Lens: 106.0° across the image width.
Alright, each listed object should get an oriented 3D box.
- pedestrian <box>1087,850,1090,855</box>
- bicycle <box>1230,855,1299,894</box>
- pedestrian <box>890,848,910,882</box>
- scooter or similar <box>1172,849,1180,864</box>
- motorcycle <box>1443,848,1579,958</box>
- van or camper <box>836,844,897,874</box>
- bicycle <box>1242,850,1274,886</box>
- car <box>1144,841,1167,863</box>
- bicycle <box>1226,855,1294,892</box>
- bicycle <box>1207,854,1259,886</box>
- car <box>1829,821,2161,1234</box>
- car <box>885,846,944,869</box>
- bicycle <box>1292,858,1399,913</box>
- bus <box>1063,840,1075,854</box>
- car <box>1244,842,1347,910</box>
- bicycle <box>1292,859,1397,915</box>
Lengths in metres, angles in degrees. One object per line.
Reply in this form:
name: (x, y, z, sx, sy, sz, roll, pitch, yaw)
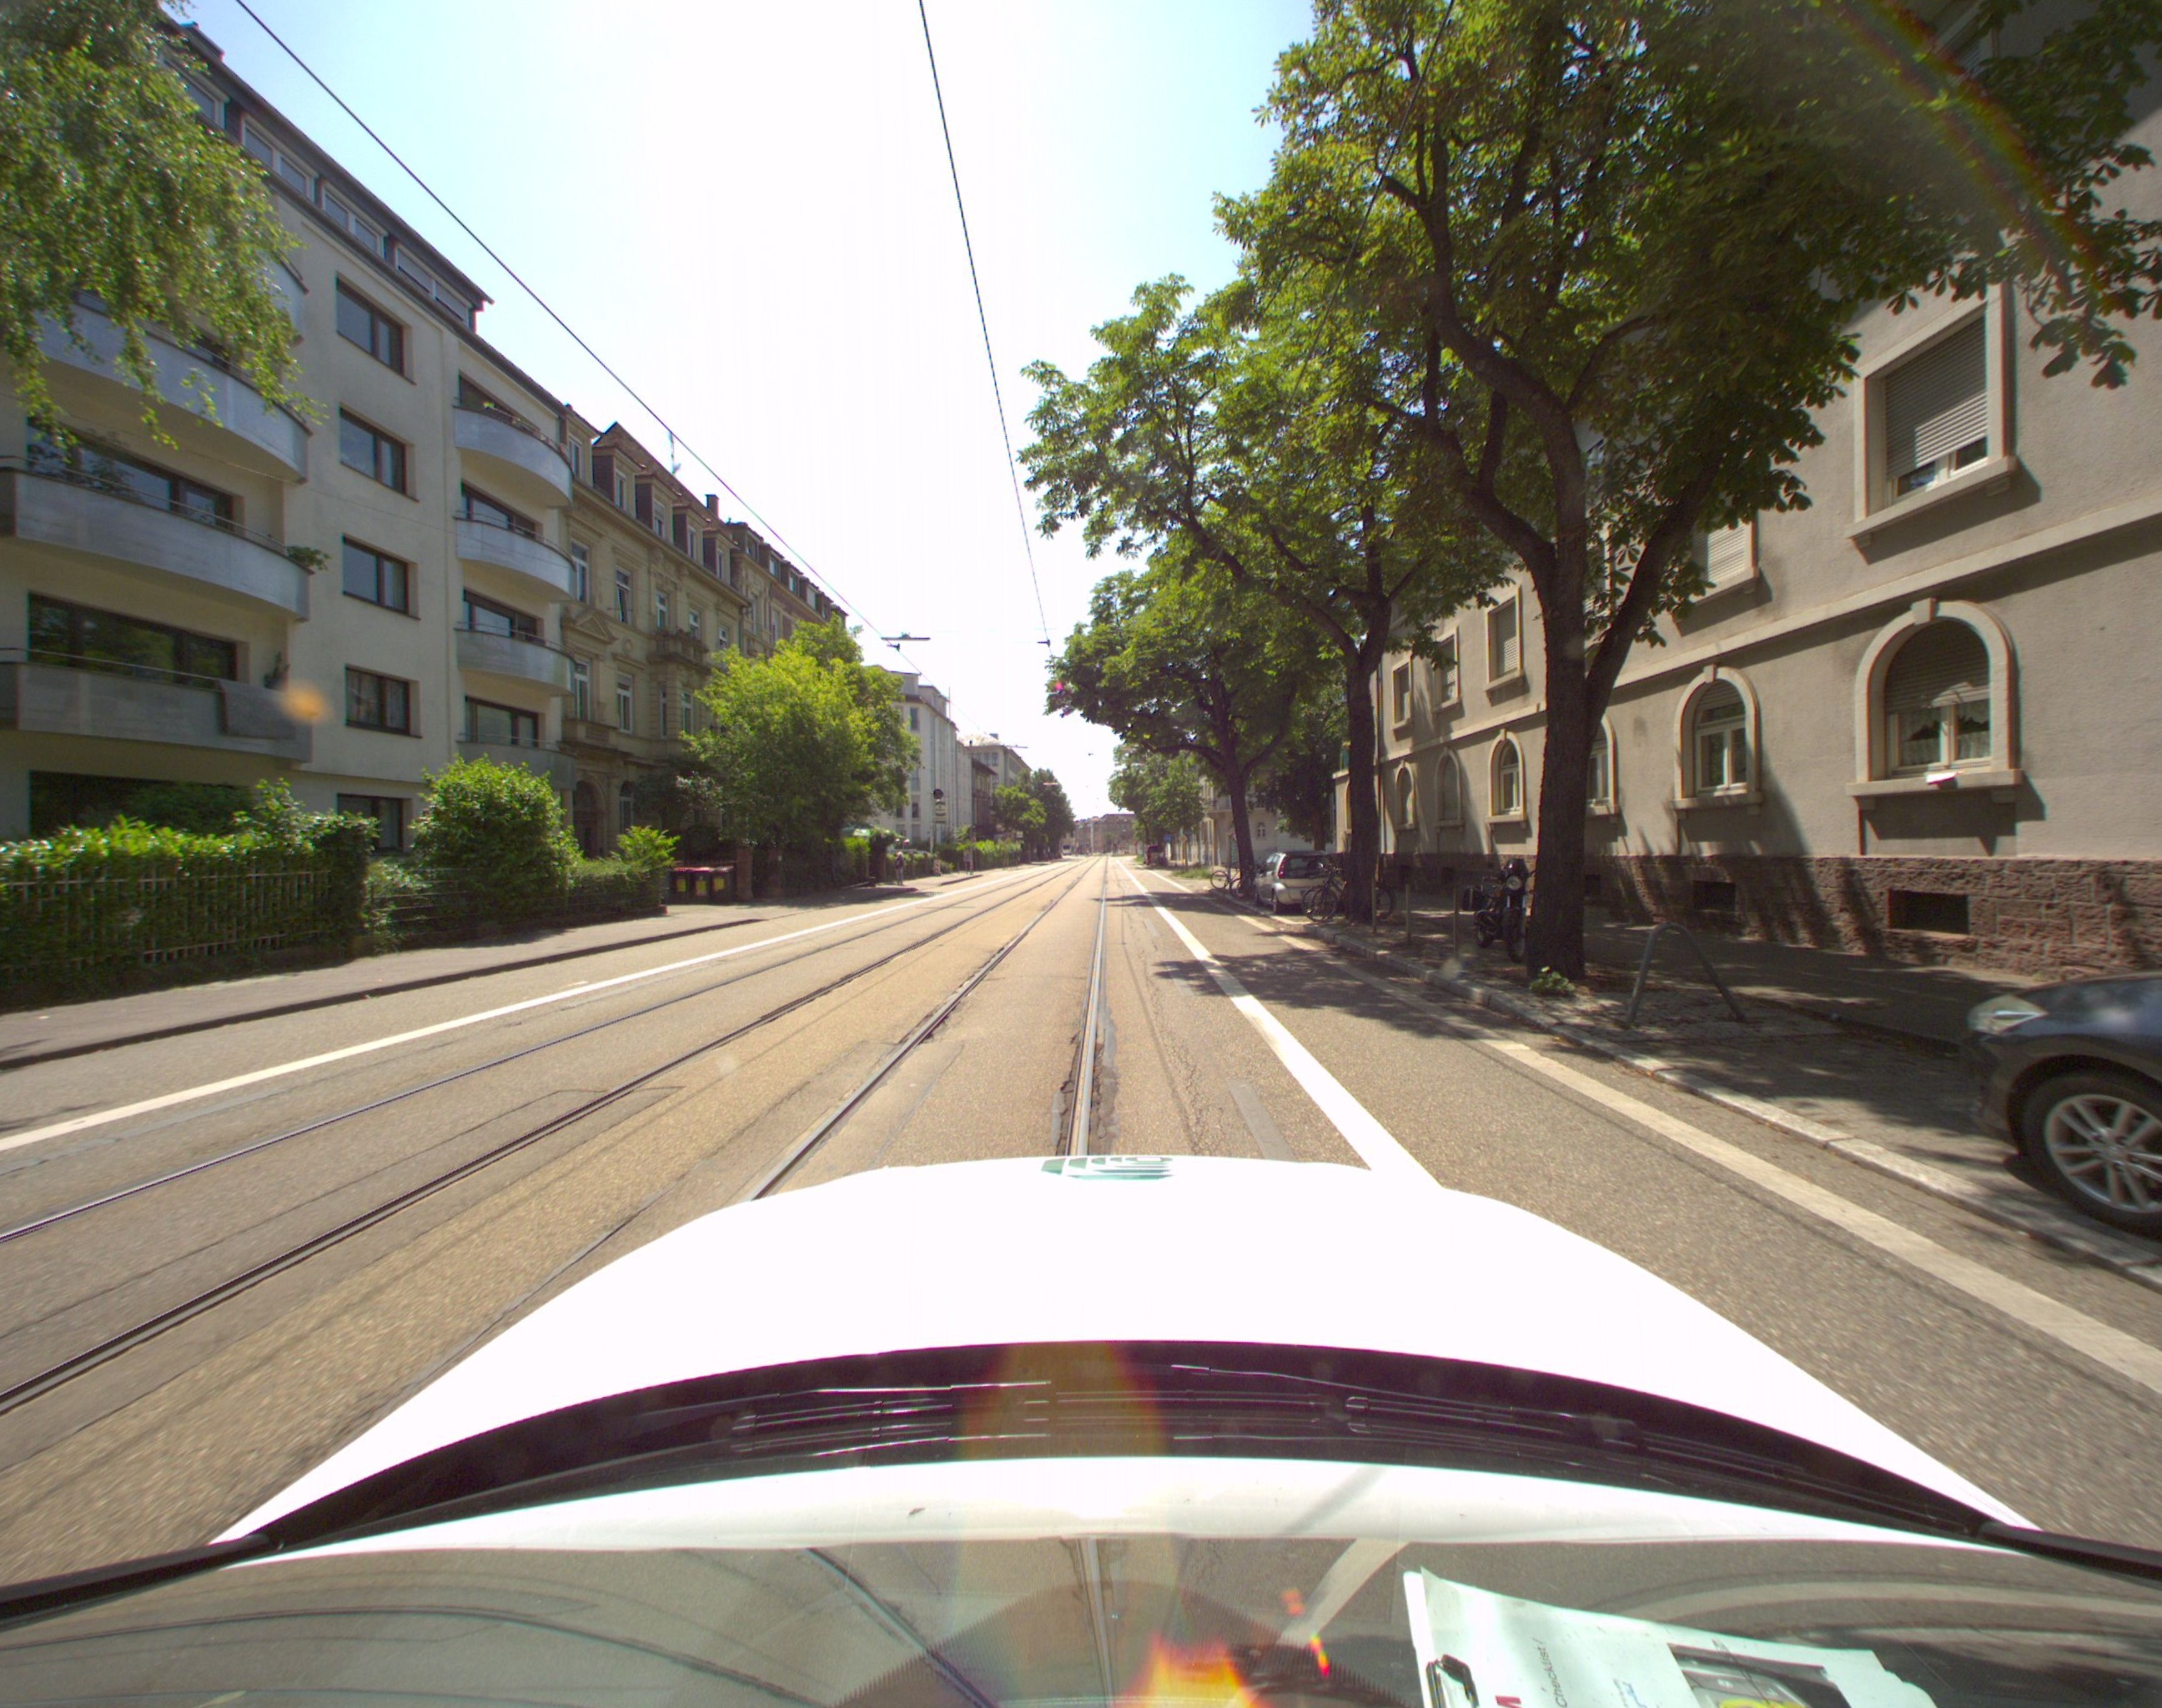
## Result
pedestrian: (1.682, -0.392, 185.096, 0.493, 1.173, 0.586, -1, 0, -22)
bicycle: (5.613, 0.623, 24.955, 1.954, 1.113, 0.599, -2, -1, 3)
pedestrian: (-8.847, 0.547, 39.775, 0.747, 1.629, 0.834, 0, 0, 4)
scooter or similar: (7.780, 0.217, 66.963, 0.499, 1.230, 1.574, 0, 0, 2)
motorcycle: (5.642, 0.578, 10.882, 0.989, 1.299, 2.387, -1, 0, 12)
van or camper: (-16.076, 0.357, 61.255, 1.977, 2.119, 4.823, 0, 0, 20)
bicycle: (6.485, 0.514, 29.946, 0.579, 1.231, 2.004, -2, -1, -3)
car: (7.213, -0.221, 79.309, 1.986, 2.035, 4.699, -1, 1, 2)
bicycle: (5.612, 0.611, 25.581, 2.001, 1.113, 0.640, -2, -1, 3)
bicycle: (5.620, 0.597, 30.189, 1.809, 1.113, 0.493, -2, -1, 1)
car: (4.833, 0.632, 2.163, 1.768, 1.501, 4.306, -2, 1, 1)
car: (-14.114, 0.258, 68.996, 4.445, 1.904, 2.009, 0, 0, 18)
bicycle: (5.266, 0.633, 16.314, 1.952, 1.063, 0.600, -1, 0, 8)
bus: (-3.450, -1.885, 237.799, 2.920, 3.937, 11.278, 1, 0, 2)
car: (5.296, 0.509, 20.535, 1.616, 1.448, 3.811, -3, 0, 1)
bicycle: (5.145, 0.642, 15.980, 1.879, 1.052, 0.539, -1, 0, 8)
